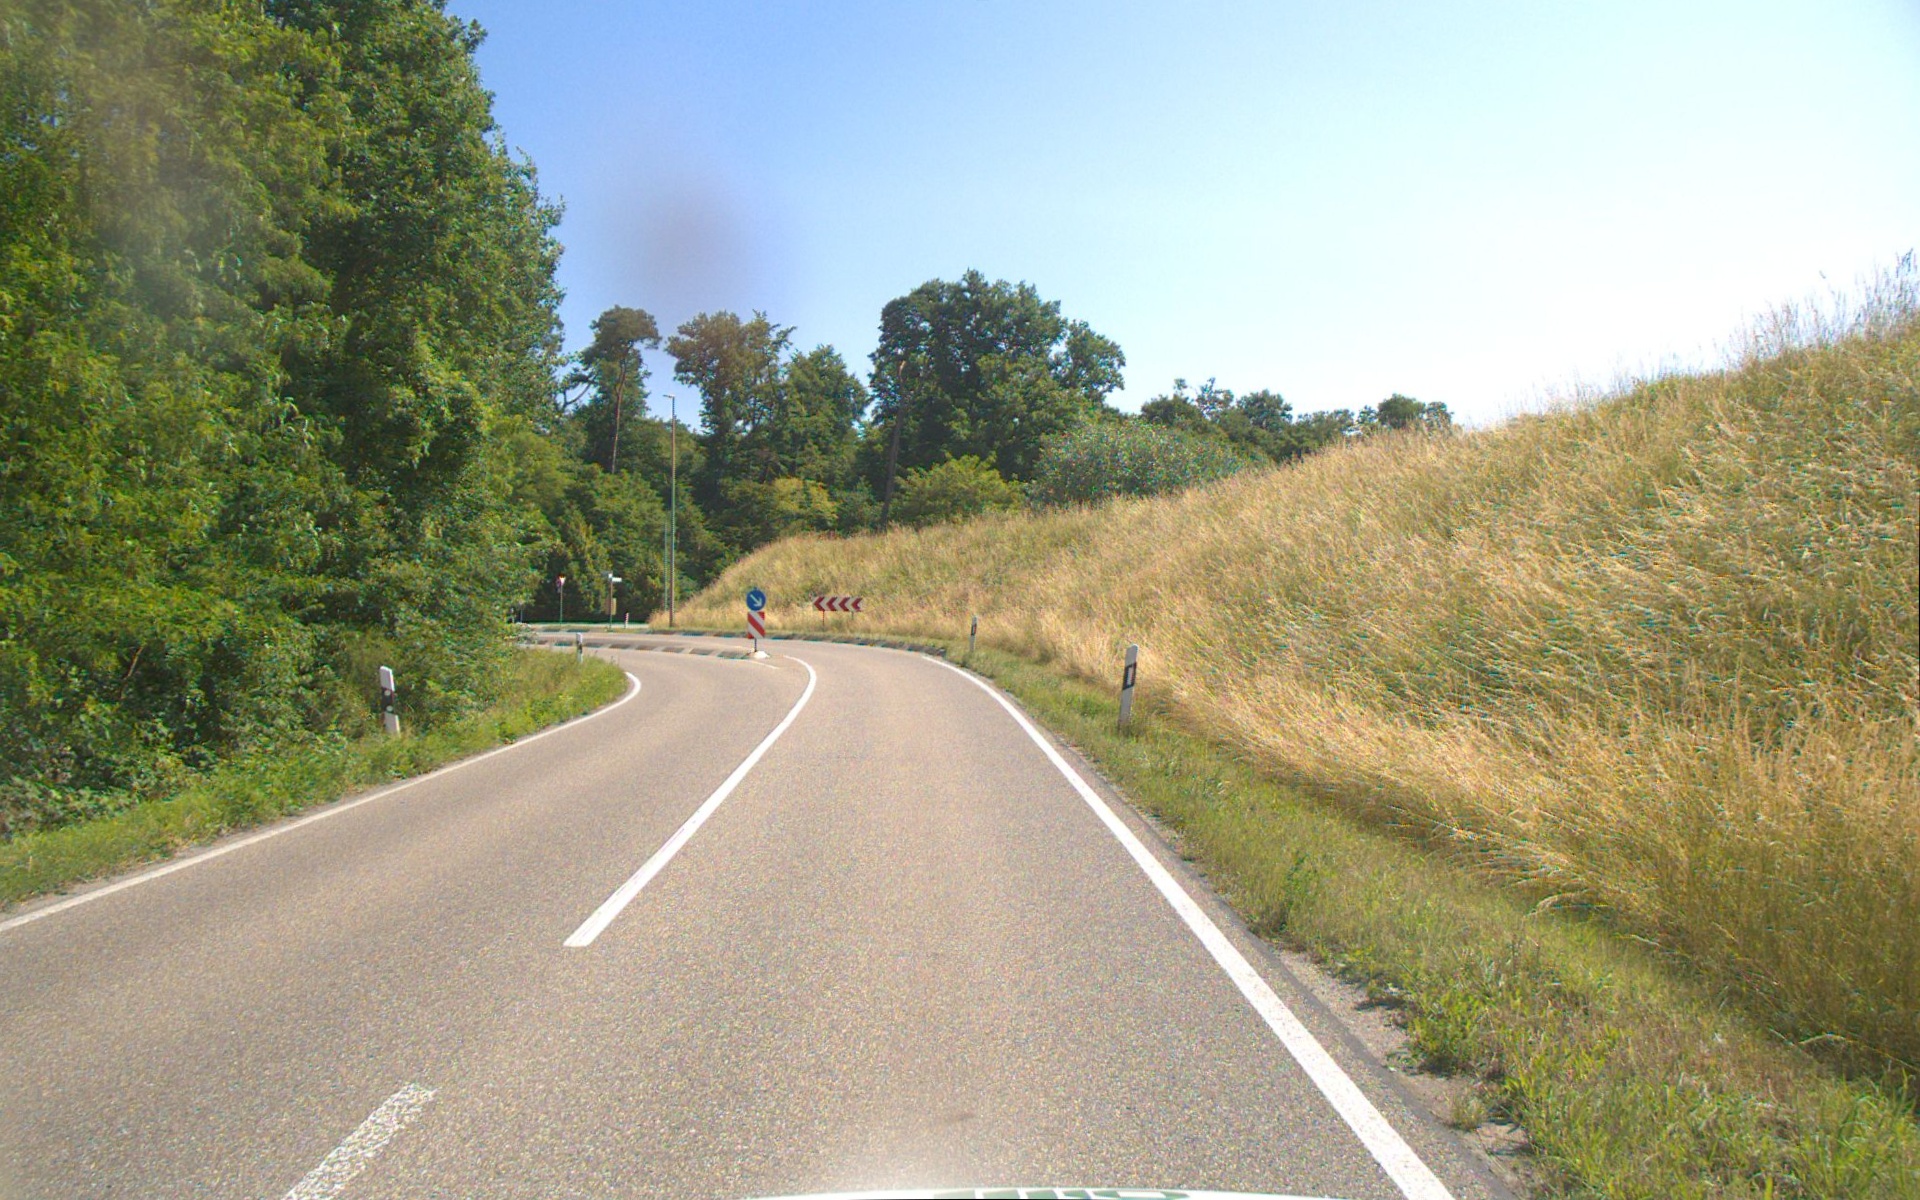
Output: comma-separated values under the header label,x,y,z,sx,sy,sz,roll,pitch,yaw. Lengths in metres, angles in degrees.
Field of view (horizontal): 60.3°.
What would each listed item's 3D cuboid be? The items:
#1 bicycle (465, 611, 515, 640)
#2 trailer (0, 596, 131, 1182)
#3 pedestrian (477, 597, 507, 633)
label,x,y,z,sx,sy,sz,roll,pitch,yaw
bicycle,-27.004,1.456,95.008,3.139,1.615,1.180,-1,0,40
trailer,-3.154,0.733,3.167,1.528,1.466,3.268,0,0,-1
pedestrian,-26.865,0.843,94.912,1.119,2.049,1.259,-1,0,37
